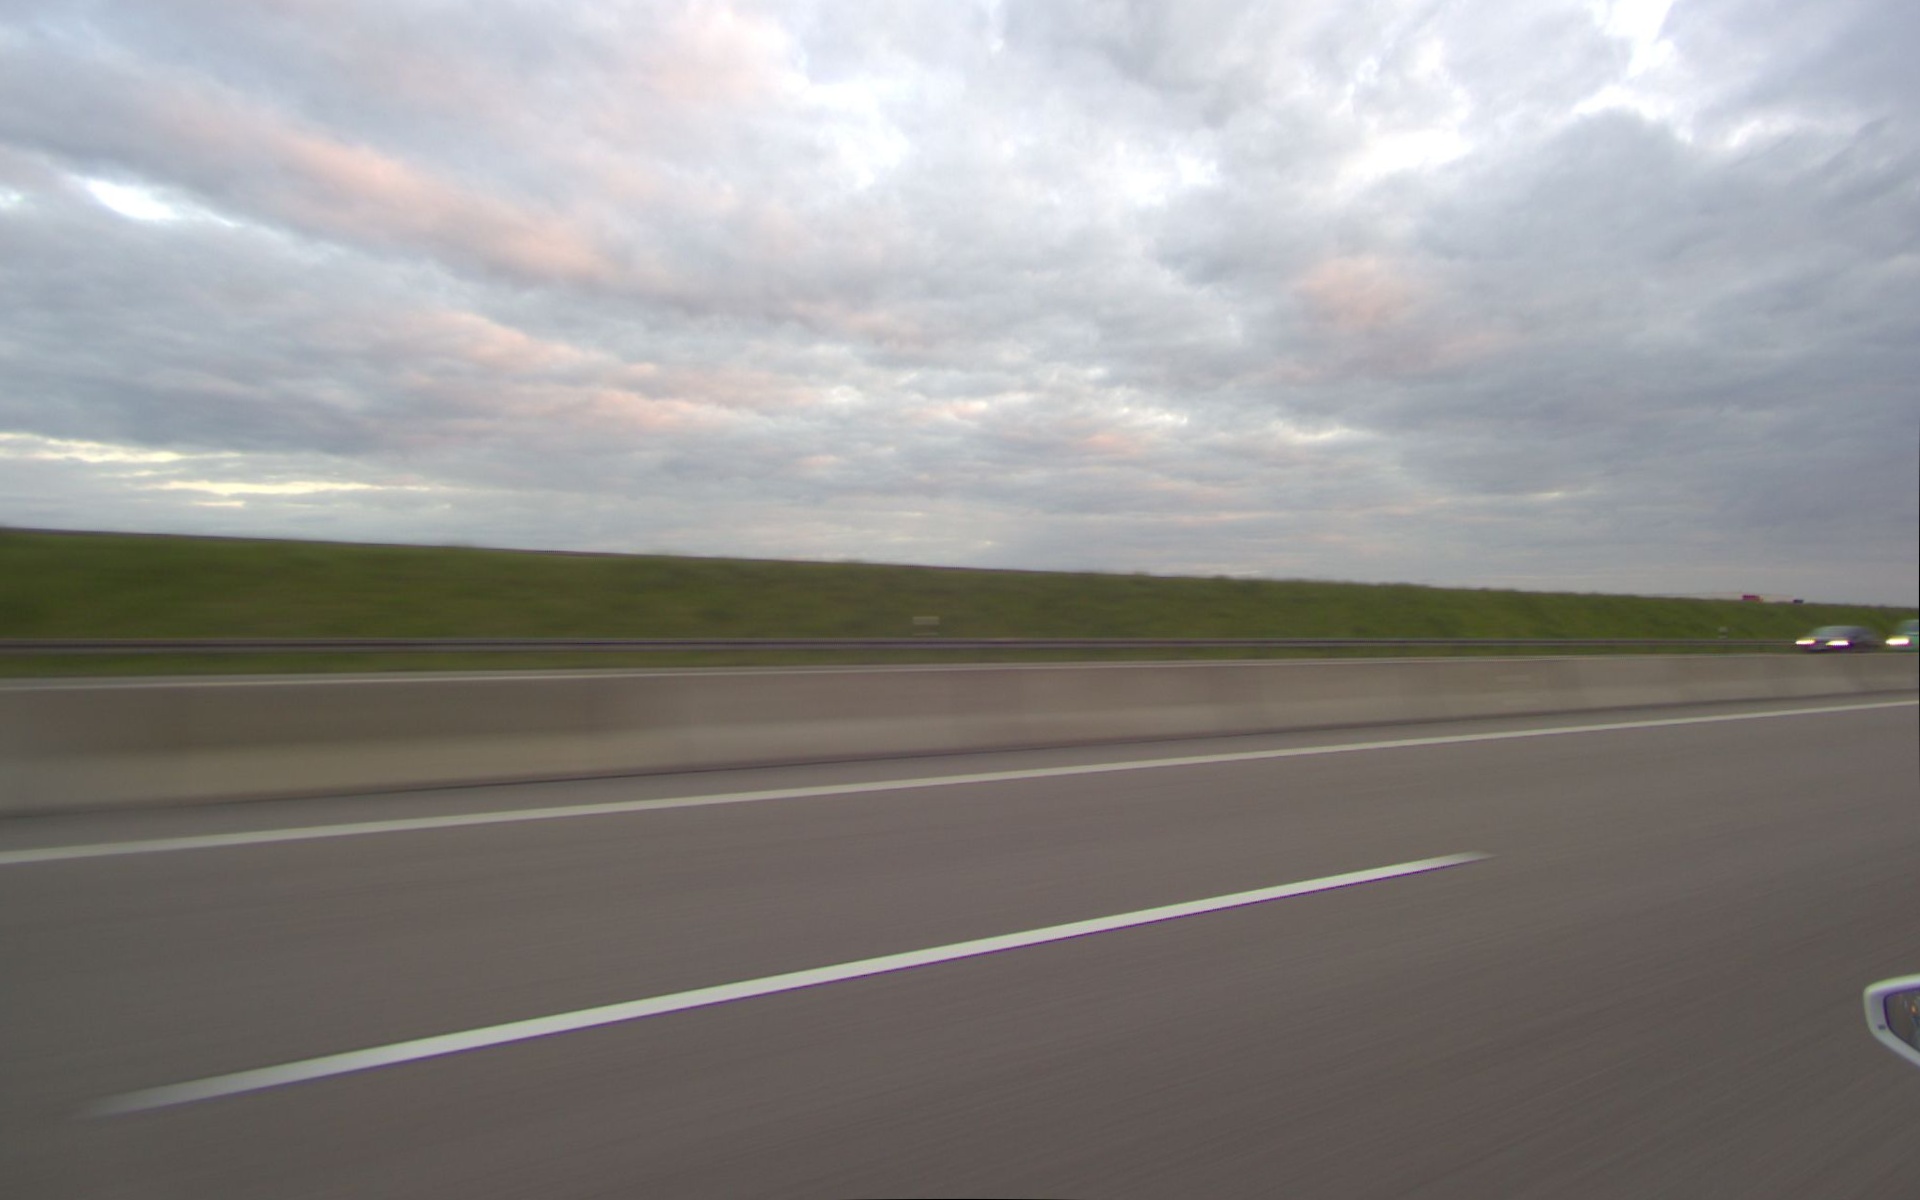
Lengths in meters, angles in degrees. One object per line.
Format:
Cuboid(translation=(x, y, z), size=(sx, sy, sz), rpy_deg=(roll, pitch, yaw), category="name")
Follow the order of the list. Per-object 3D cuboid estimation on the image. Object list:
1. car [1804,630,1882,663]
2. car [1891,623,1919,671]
Cuboid(translation=(43.531, 2.274, 49.500), size=(4.375, 1.537, 1.623), rpy_deg=(1, 0, -30), category="car")
Cuboid(translation=(43.704, 2.070, 44.536), size=(5.669, 2.040, 1.993), rpy_deg=(1, -1, -30), category="car")
